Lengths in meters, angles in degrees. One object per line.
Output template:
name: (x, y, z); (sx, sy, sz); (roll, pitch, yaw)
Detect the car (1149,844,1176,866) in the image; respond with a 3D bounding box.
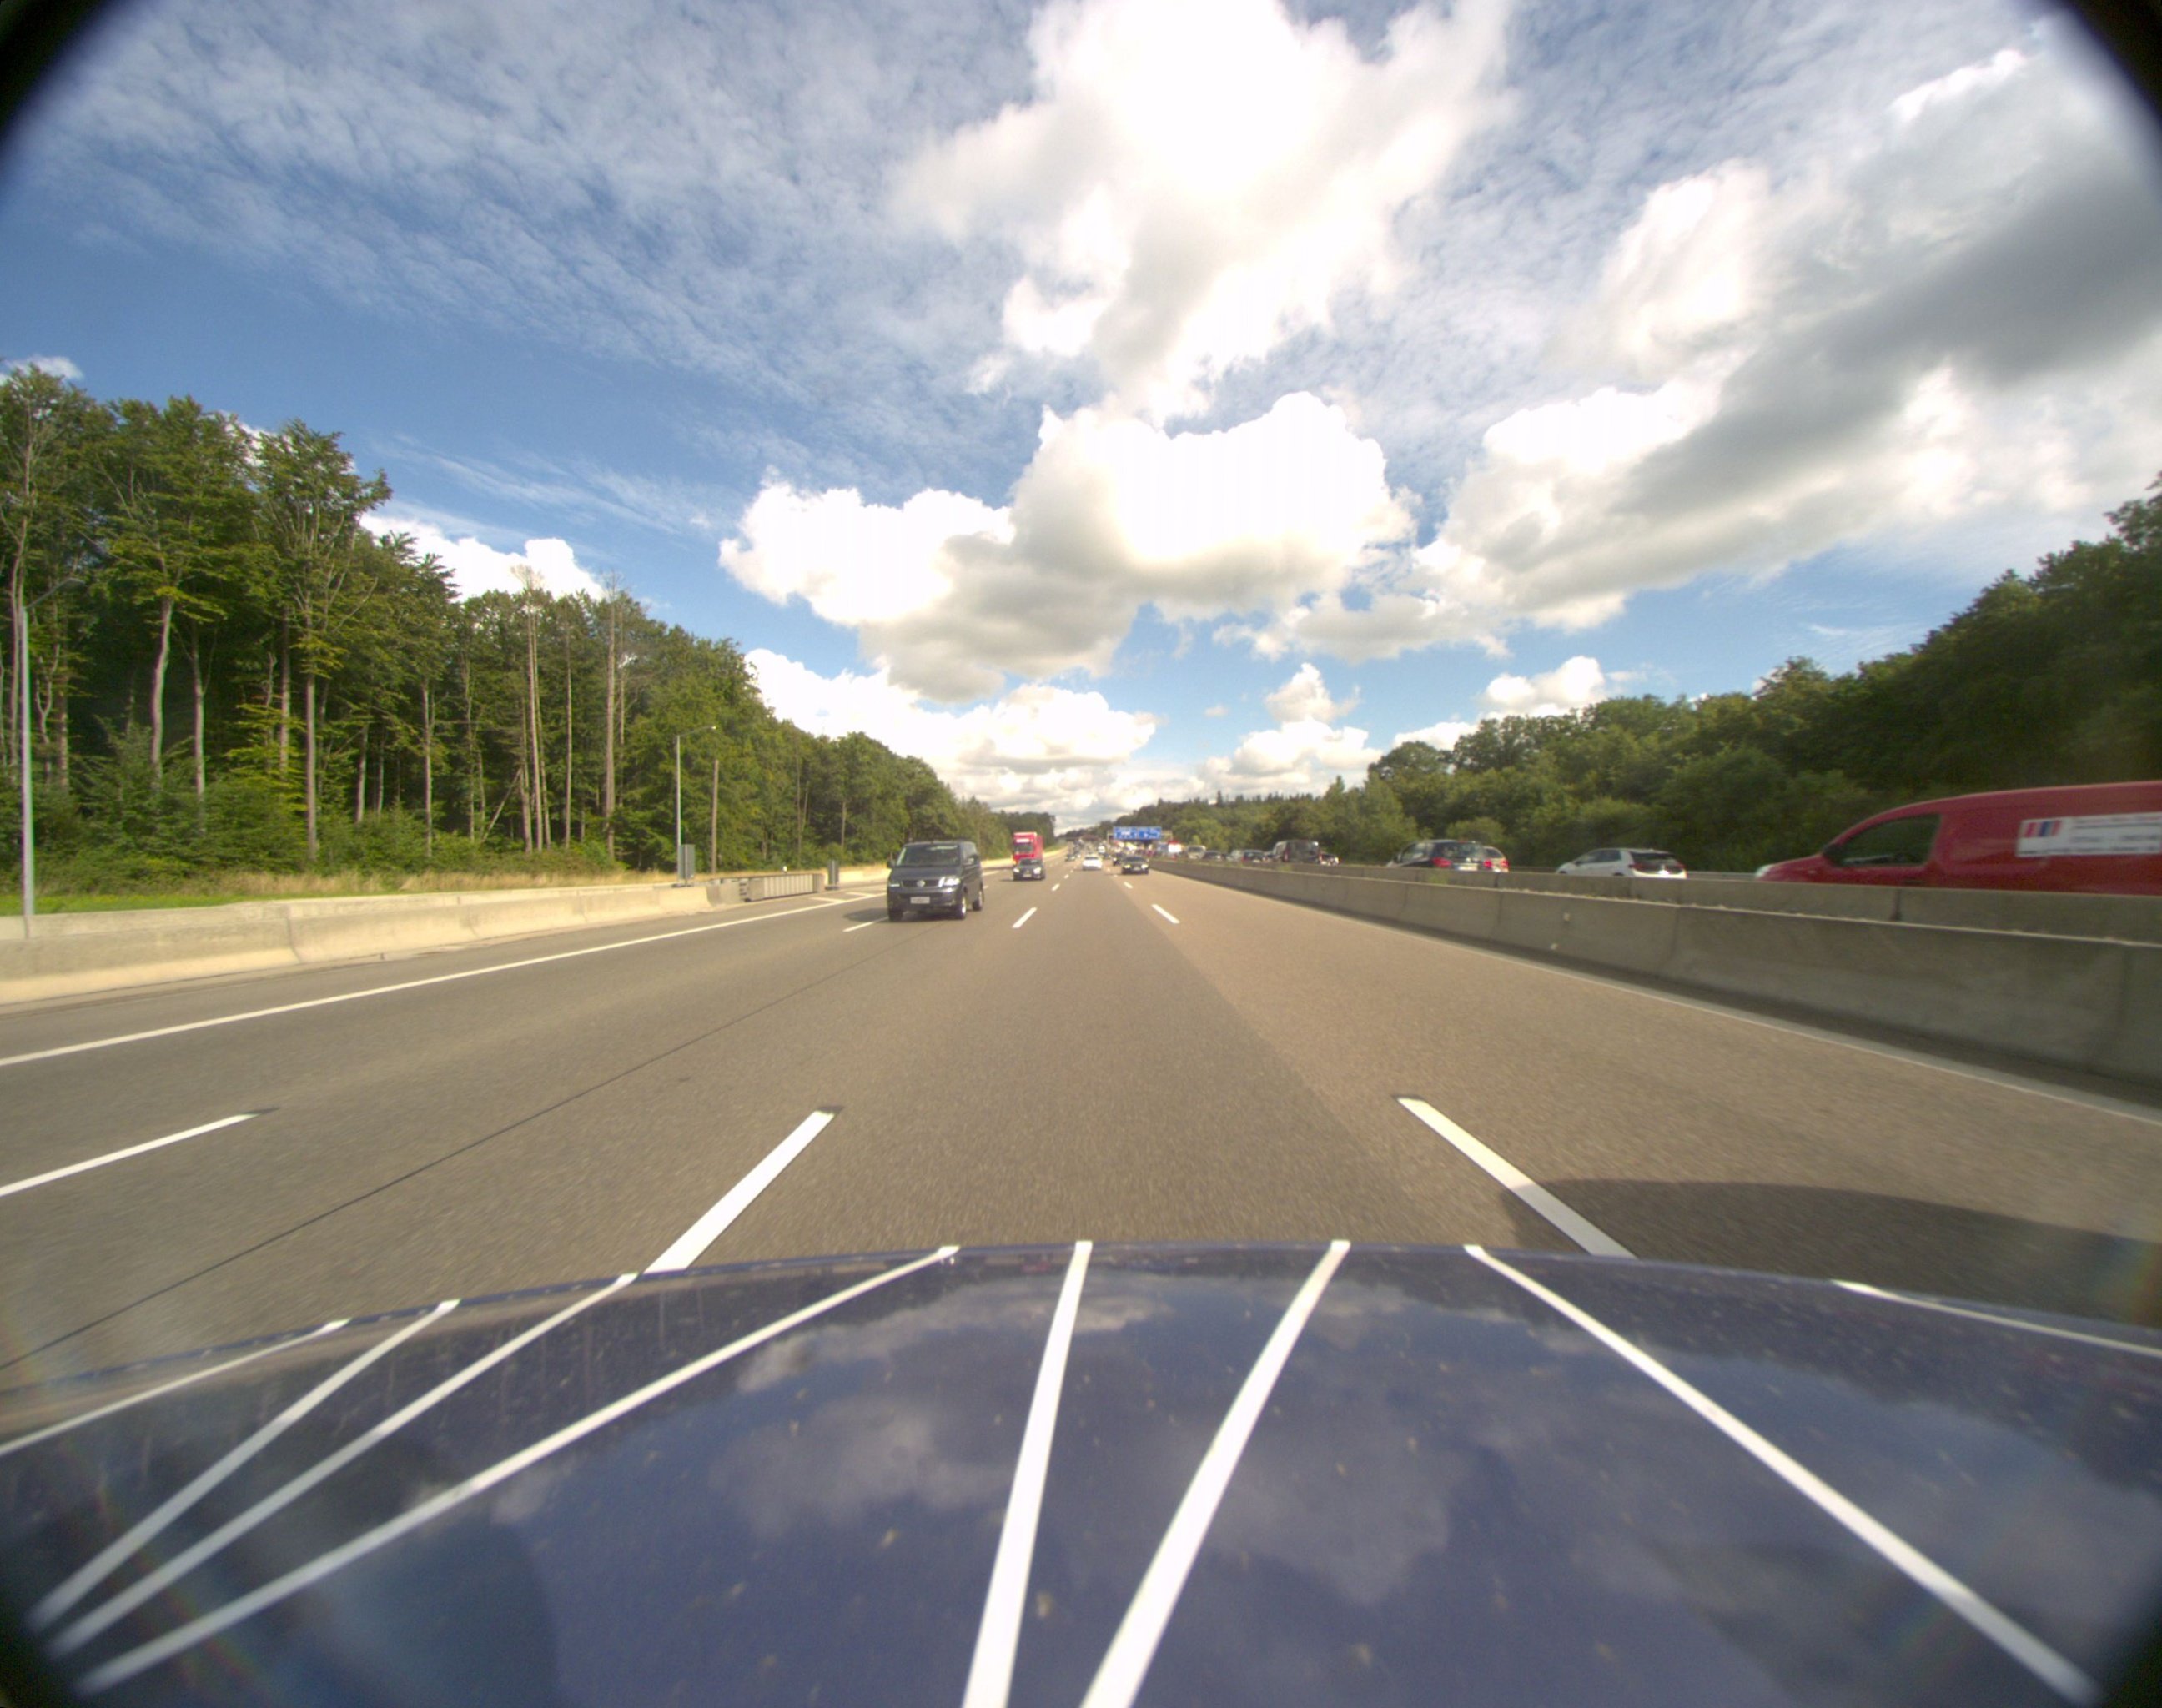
car: (7.236, 0.091, 68.037); (1.998, 1.909, 4.000); (-2, 0, 1)

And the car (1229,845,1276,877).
car: (10.581, 0.393, 47.282); (1.998, 1.749, 4.457); (-2, 2, 2)

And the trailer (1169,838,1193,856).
trailer: (19.969, -1.410, 152.371); (2.735, 3.316, 14.217); (-2, 0, 0)

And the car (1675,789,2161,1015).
car: (9.255, 0.329, 7.926); (1.881, 1.752, 5.293); (-2, 0, -1)

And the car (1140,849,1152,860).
car: (11.234, 0.062, 131.947); (1.691, 1.806, 4.294); (-2, 2, 0)

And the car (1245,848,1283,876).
car: (14.328, 0.563, 59.658); (1.998, 2.002, 4.458); (-2, 1, 2)

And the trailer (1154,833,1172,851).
trailer: (20.331, -3.059, 189.126); (2.778, 4.211, 13.654); (-2, 2, 0)

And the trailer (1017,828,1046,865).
trailer: (-5.990, -1.065, 94.559); (2.531, 4.096, 14.372); (-2, 2, 0)

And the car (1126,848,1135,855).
car: (13.245, -0.720, 204.444); (1.998, 1.733, 4.294); (-3, 1, 0)

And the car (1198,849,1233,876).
car: (10.535, 0.602, 59.770); (1.998, 1.894, 4.458); (-3, 1, 2)

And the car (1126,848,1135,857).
car: (12.042, -0.361, 185.063); (1.691, 1.806, 4.294); (-2, 2, 0)

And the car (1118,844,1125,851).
car: (13.788, -2.196, 259.587); (1.998, 2.088, 5.276); (-2, 2, 1)

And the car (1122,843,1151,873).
car: (4.019, 0.264, 55.368); (1.919, 2.002, 4.000); (-2, 1, 2)

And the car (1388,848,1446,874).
car: (22.095, 0.413, 50.247); (1.716, 1.393, 5.071); (-2, 2, 2)

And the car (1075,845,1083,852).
car: (-0.547, -1.434, 198.928); (1.804, 1.865, 3.950); (-1, 1, 1)

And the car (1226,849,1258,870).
car: (14.693, 0.487, 69.638); (1.998, 1.723, 4.762); (-2, 1, 2)

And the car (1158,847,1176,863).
car: (10.818, 0.085, 95.930); (1.910, 2.002, 5.091); (-1, 0, 2)

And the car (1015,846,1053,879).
car: (-2.964, 0.491, 48.654); (1.998, 2.002, 4.000); (-1, 0, 2)

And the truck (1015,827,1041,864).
truck: (-6.045, -1.007, 87.513); (2.532, 4.179, 4.652); (-2, 2, 1)

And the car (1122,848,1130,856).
car: (11.933, -0.530, 202.451); (1.998, 2.002, 4.408); (-1, 2, 1)

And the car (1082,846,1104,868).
car: (1.190, 0.281, 71.394); (1.998, 2.002, 4.000); (-1, 0, 2)

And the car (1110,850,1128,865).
car: (4.486, 0.438, 91.098); (1.911, 1.582, 4.286); (-2, 2, 1)

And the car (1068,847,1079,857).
car: (-1.421, -0.387, 144.883); (1.911, 1.582, 4.285); (-2, 2, -2)

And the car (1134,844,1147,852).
car: (11.118, -1.198, 142.330); (1.819, 1.341, 6.231); (-3, 1, 0)

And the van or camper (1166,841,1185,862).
van or camper: (15.374, -0.446, 124.128); (2.144, 3.154, 6.243); (-3, 1, 0)

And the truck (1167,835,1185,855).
truck: (19.887, -1.859, 159.293); (2.783, 3.916, 6.852); (-2, 1, 0)

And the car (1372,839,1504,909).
car: (10.287, 0.488, 22.281); (1.862, 1.753, 4.458); (-2, 2, 2)

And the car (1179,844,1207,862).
car: (10.330, -0.128, 70.372); (1.998, 1.563, 4.815); (-2, 0, 2)

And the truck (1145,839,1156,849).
truck: (19.656, -2.858, 215.830); (2.334, 2.785, 7.947); (-3, 1, 0)

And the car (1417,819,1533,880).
car: (14.169, -0.230, 27.637); (1.998, 2.002, 4.457); (0, 2, 2)

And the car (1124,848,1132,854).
car: (11.768, -0.684, 188.989); (1.761, 1.369, 4.000); (-1, 0, 0)

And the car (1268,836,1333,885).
car: (10.119, 0.242, 35.407); (1.821, 2.002, 4.451); (-2, 2, 2)

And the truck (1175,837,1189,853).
truck: (26.143, -2.330, 196.633); (2.819, 4.127, 5.450); (-2, 2, 0)

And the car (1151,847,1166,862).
car: (10.861, 0.050, 106.726); (1.887, 2.002, 4.519); (-1, 0, 2)

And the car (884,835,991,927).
car: (-3.710, 0.606, 20.563); (1.927, 2.153, 4.960); (-1, 1, 0)

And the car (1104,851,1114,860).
car: (5.716, 0.344, 155.266); (1.804, 1.783, 3.757); (-1, 1, 1)
